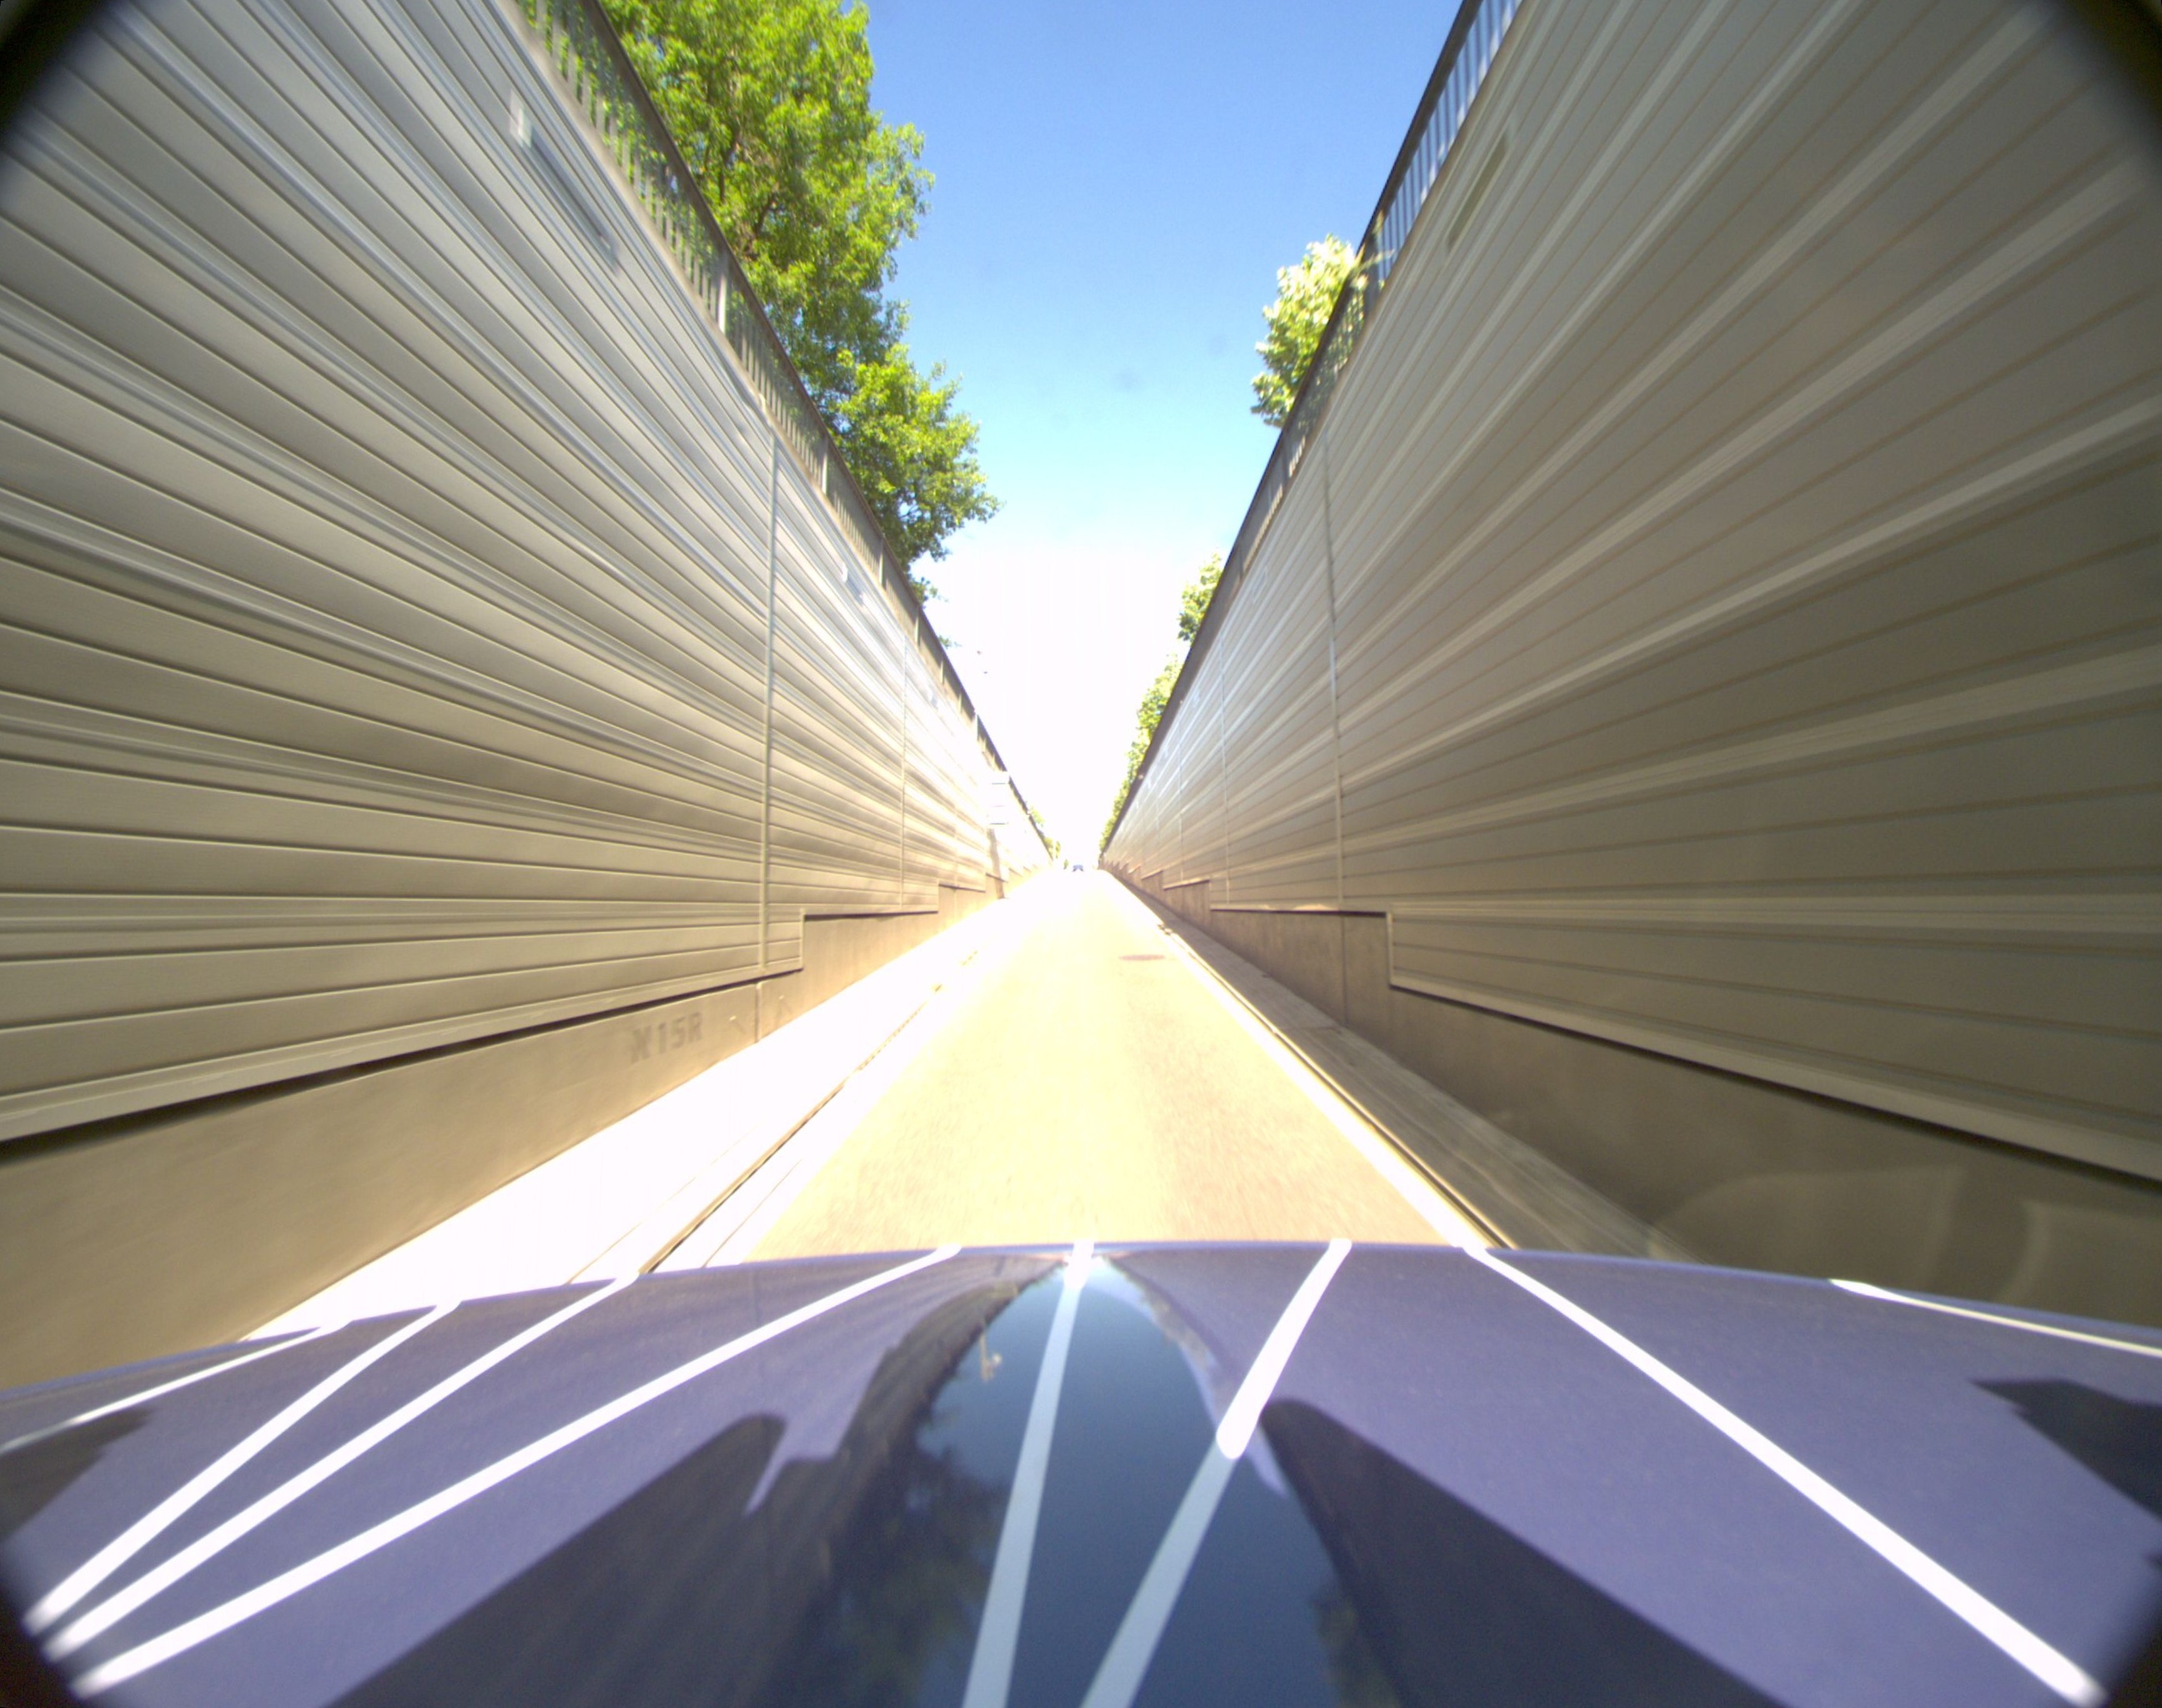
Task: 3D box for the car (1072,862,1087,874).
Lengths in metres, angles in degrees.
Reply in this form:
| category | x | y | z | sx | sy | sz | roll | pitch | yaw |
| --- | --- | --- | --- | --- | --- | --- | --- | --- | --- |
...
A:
| category | x | y | z | sx | sy | sz | roll | pitch | yaw |
| --- | --- | --- | --- | --- | --- | --- | --- | --- | --- |
| car | -0.202 | 1.784 | 97.961 | 1.829 | 1.327 | 4.003 | -1 | -4 | 1 |
